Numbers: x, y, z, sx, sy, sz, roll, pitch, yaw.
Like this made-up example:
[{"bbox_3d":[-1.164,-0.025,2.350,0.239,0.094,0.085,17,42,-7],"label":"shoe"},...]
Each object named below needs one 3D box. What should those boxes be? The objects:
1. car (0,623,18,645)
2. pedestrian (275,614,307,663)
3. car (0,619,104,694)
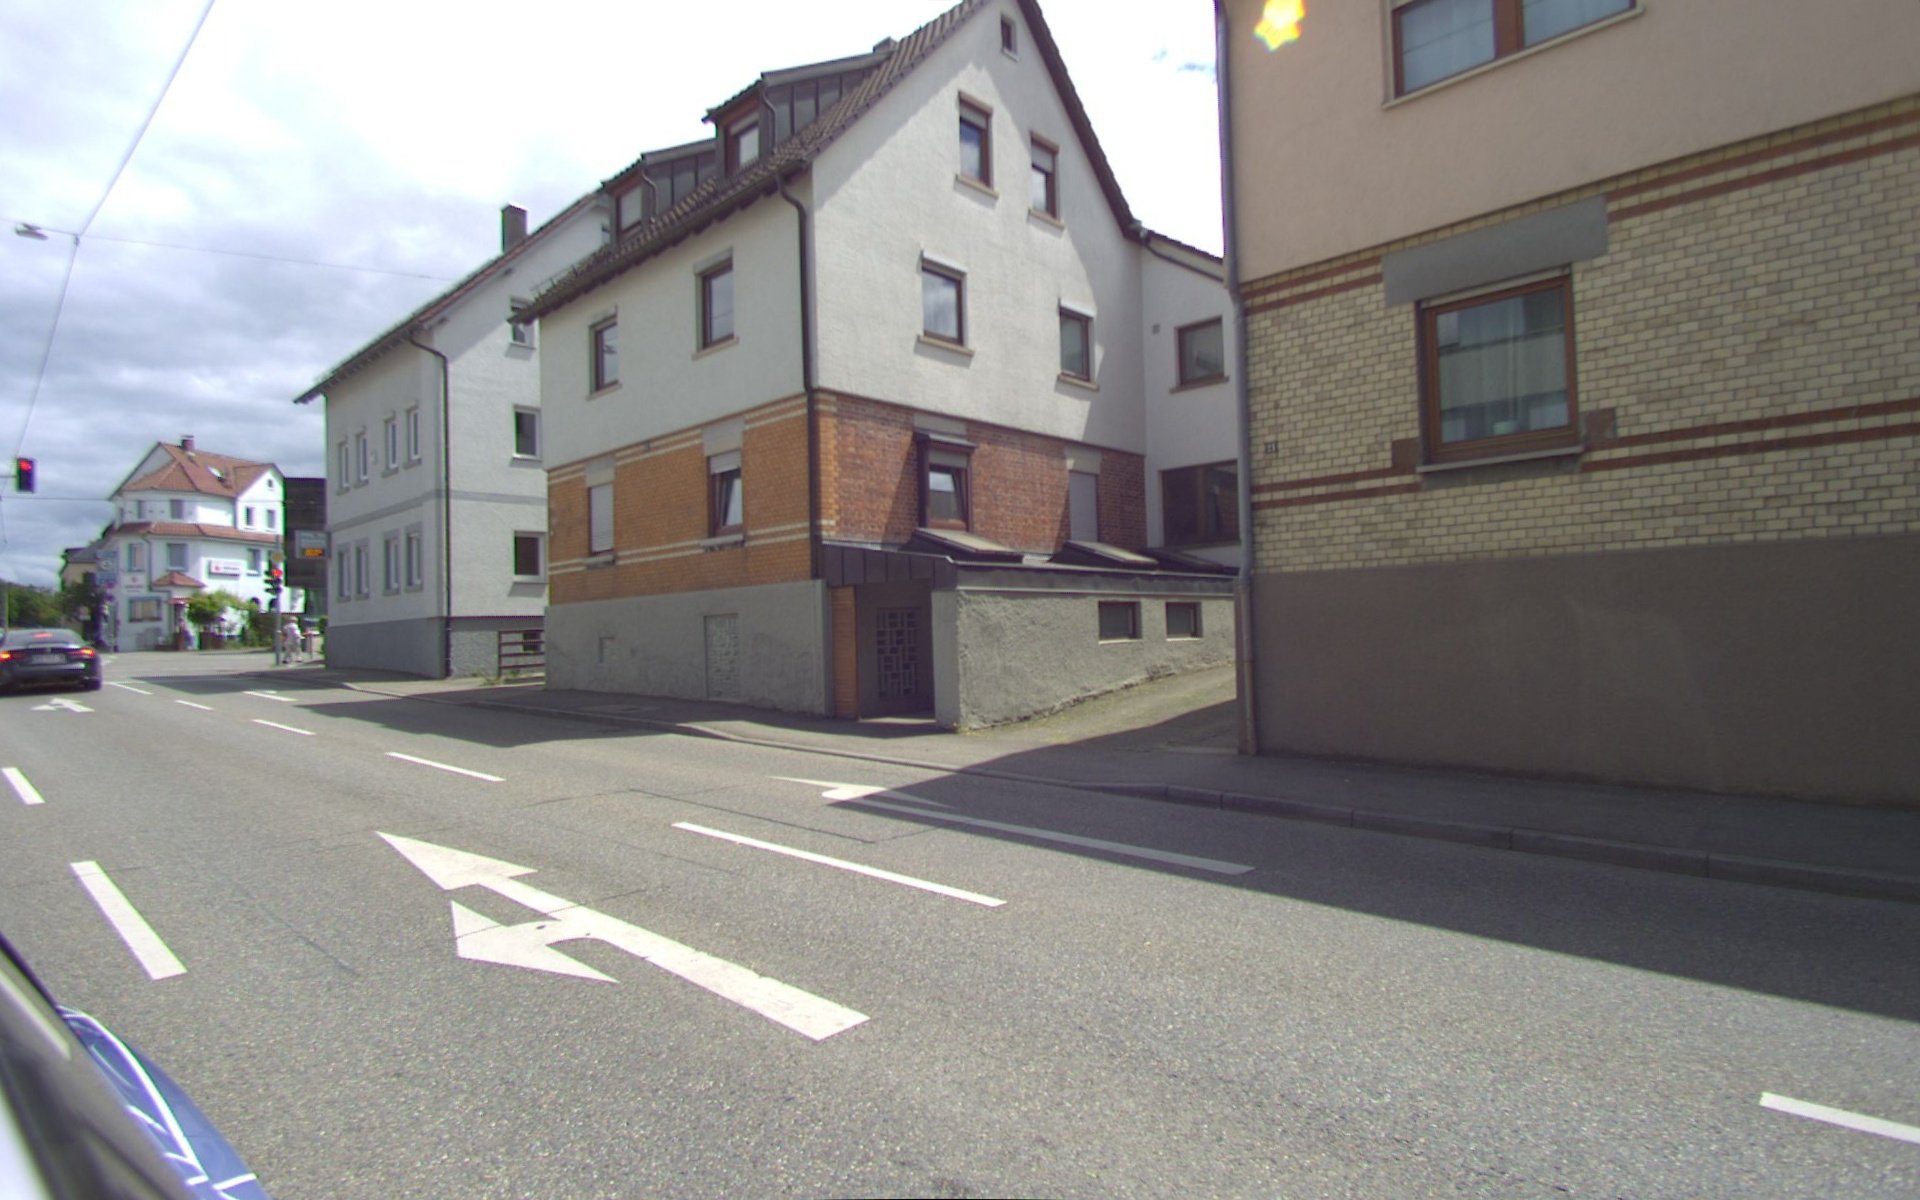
[{"bbox_3d":[-91.744,3.228,96.895,4.000,2.029,1.972,-1,-1,43],"label":"car"},{"bbox_3d":[-22.943,1.312,34.699,0.676,1.620,0.582,-1,0,18],"label":"pedestrian"},{"bbox_3d":[-20.770,1.246,22.834,4.000,1.497,1.771,-3,-1,43],"label":"car"}]
